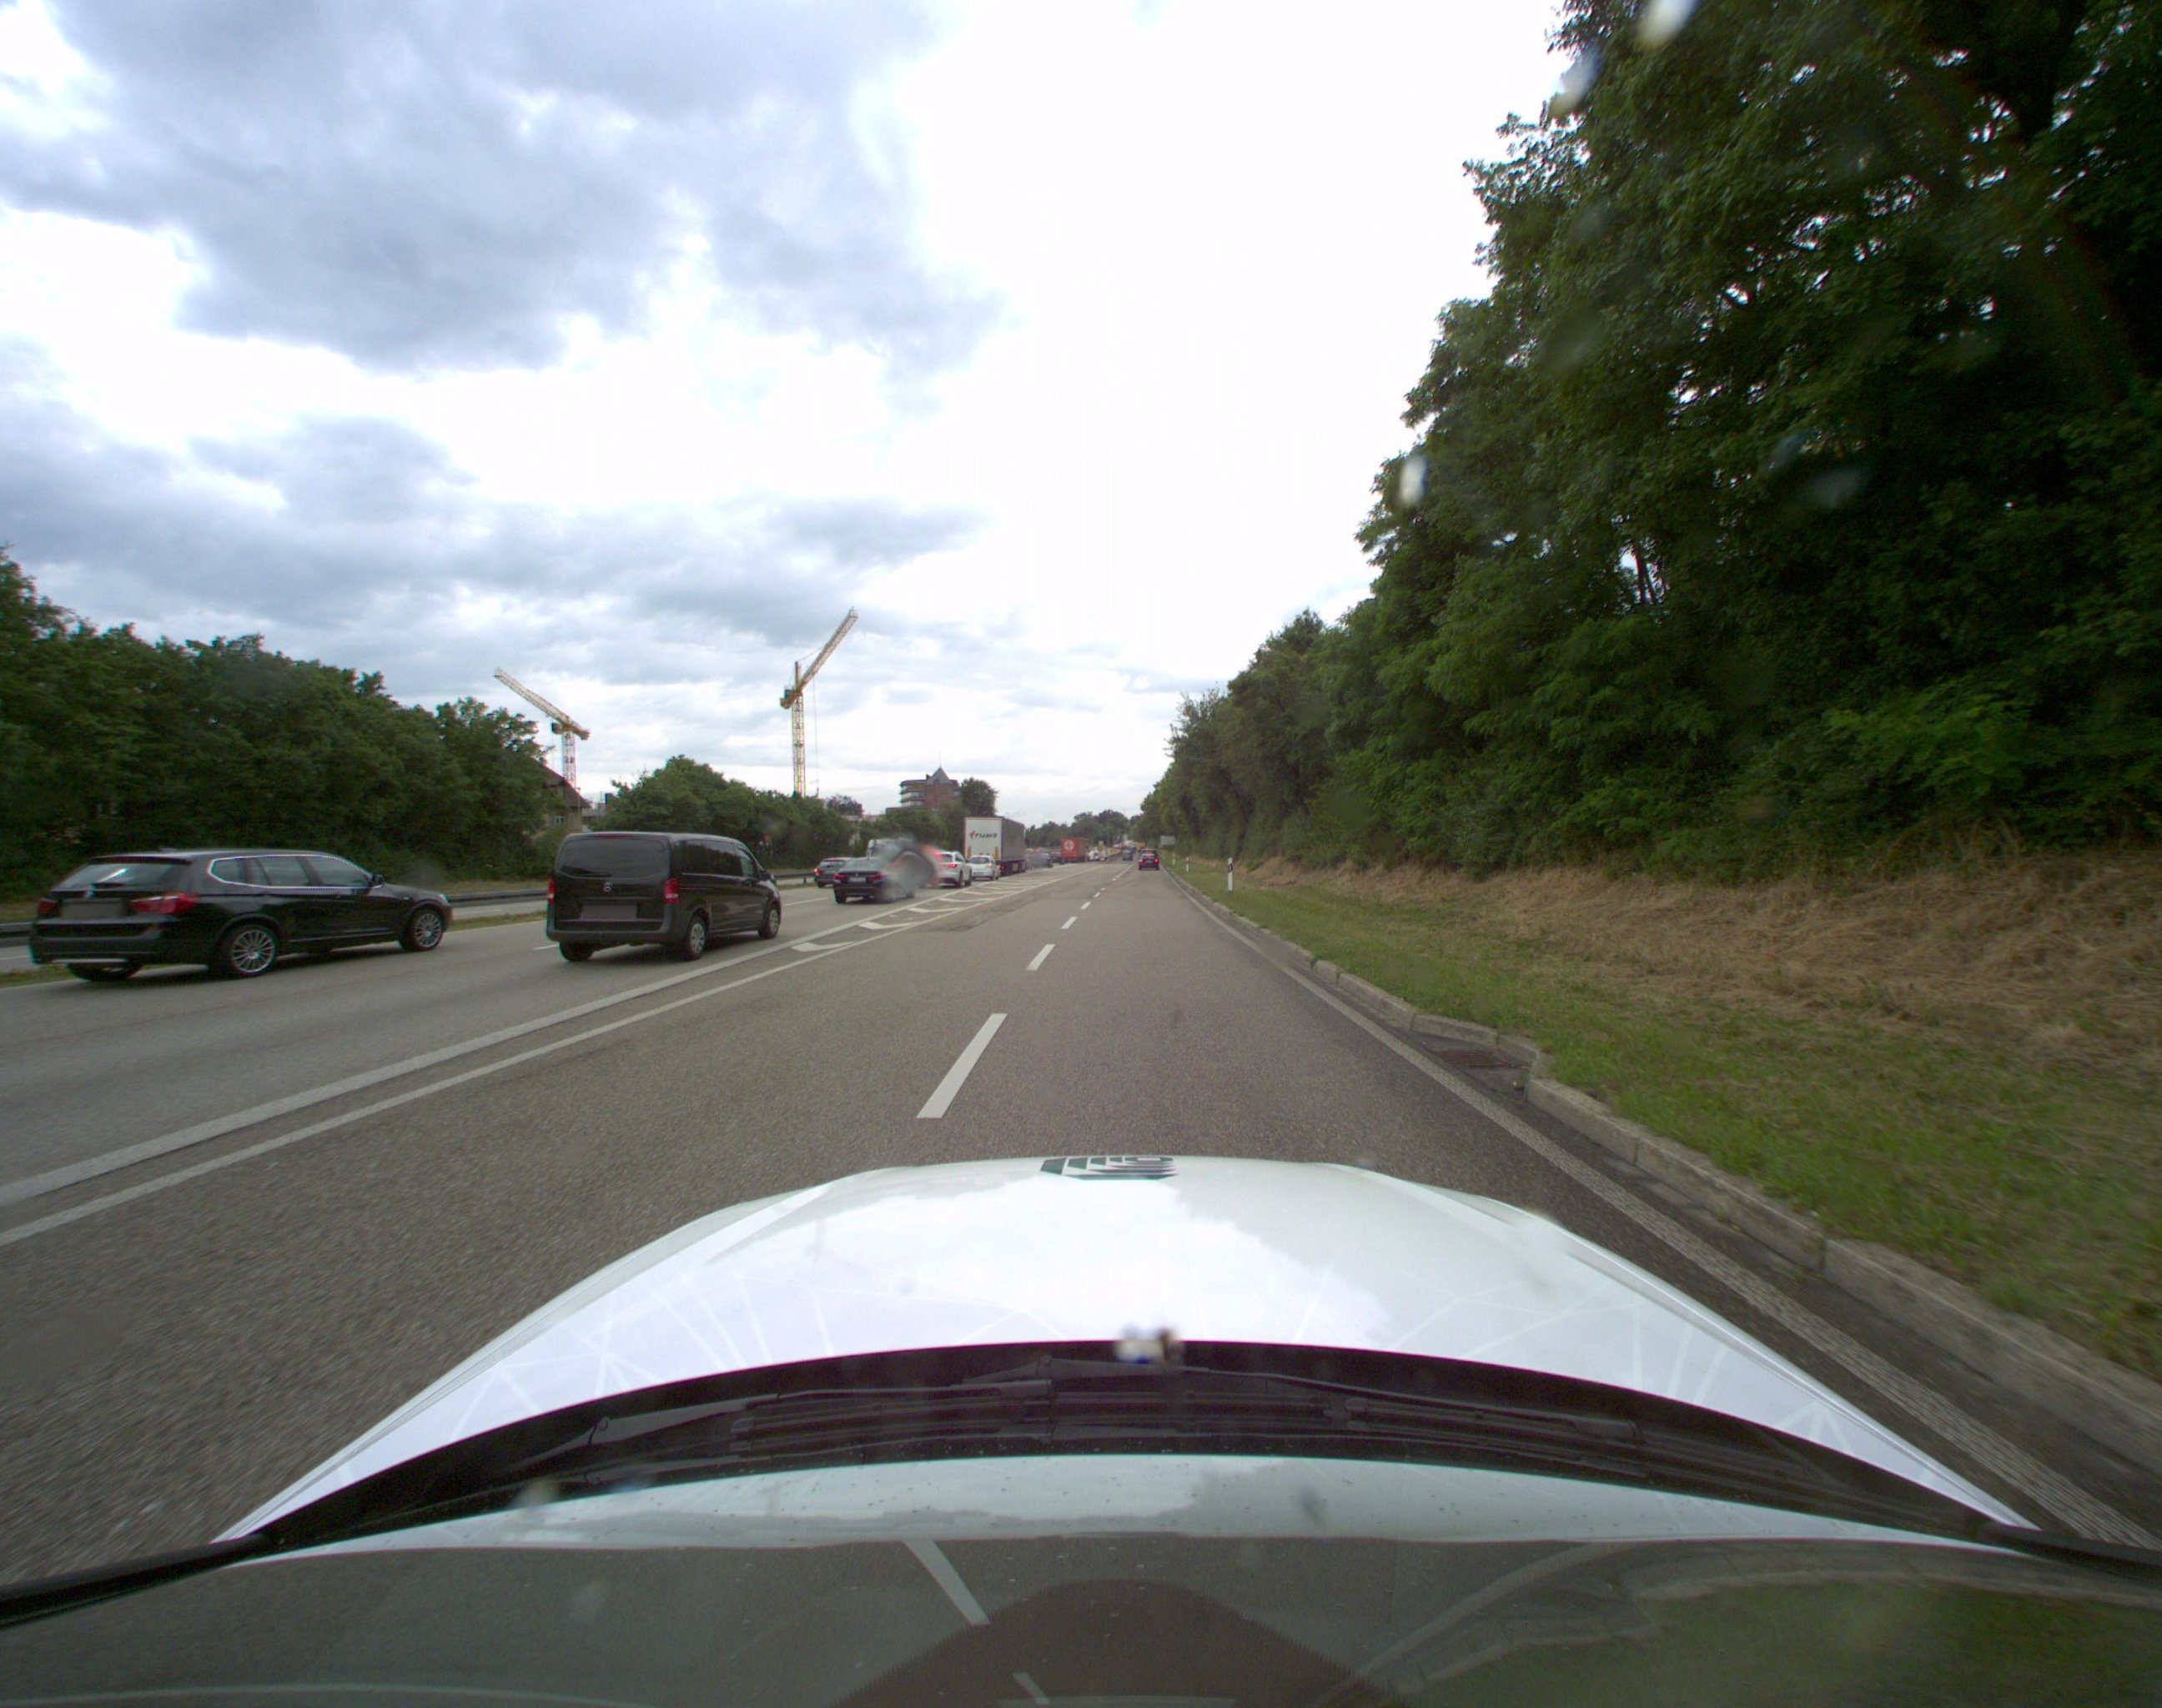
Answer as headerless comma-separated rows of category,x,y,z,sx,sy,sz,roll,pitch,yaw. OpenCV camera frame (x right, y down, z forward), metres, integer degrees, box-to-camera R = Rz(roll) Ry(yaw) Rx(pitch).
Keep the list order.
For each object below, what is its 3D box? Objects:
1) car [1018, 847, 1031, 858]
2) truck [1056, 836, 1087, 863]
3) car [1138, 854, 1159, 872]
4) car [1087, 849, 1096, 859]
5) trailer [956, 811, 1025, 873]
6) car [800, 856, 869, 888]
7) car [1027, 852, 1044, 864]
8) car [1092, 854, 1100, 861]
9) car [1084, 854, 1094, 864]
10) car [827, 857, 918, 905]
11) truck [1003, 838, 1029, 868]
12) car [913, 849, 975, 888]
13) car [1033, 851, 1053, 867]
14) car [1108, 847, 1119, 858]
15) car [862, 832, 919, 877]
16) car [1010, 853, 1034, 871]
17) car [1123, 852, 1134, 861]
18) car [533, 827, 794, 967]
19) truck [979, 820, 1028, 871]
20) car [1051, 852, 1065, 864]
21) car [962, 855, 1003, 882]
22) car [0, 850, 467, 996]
car,-10.610,-0.249,153.329,1.984,2.013,4.005,-1,0,4
truck,-1.346,-0.744,131.458,3.473,4.073,13.612,-2,0,5
car,6.030,0.775,73.019,1.817,1.482,4.004,-2,0,4
car,2.131,-0.006,167.277,1.607,1.948,3.709,0,-1,4
trailer,-6.352,-0.705,59.718,3.287,4.036,13.099,0,-1,1
car,-11.825,0.838,39.459,1.706,1.448,4.704,0,-1,3
car,-6.266,0.623,113.365,1.851,1.618,4.004,0,-1,4
car,3.398,0.703,183.242,1.771,1.482,4.000,-1,0,0
car,1.569,0.957,156.527,1.606,1.948,3.711,0,-1,6
car,-6.857,0.859,27.292,1.842,1.460,4.829,0,-1,-1
truck,-9.325,-0.096,117.930,2.729,4.138,10.696,0,-1,0
car,-6.369,0.675,38.462,1.949,1.695,4.867,2,-1,2
car,-4.050,0.585,87.772,1.710,1.684,4.003,0,-1,3
car,6.084,-0.238,152.906,1.943,2.013,4.002,-1,0,2
car,-11.457,0.028,49.399,1.986,2.553,5.364,-1,0,2
car,-5.689,0.771,78.473,1.792,1.604,4.261,0,-1,3
car,8.365,0.401,143.484,1.817,1.482,4.004,-2,0,3
car,-6.581,0.602,13.644,1.983,1.898,4.979,0,0,-3
truck,-6.200,-0.636,66.589,3.187,3.947,7.074,0,-1,1
car,-3.115,0.559,111.229,1.710,1.684,4.003,0,-1,3
car,-5.785,0.823,48.102,1.757,1.478,4.091,1,0,2
car,-11.443,0.784,11.585,1.854,1.613,4.651,-1,0,0
